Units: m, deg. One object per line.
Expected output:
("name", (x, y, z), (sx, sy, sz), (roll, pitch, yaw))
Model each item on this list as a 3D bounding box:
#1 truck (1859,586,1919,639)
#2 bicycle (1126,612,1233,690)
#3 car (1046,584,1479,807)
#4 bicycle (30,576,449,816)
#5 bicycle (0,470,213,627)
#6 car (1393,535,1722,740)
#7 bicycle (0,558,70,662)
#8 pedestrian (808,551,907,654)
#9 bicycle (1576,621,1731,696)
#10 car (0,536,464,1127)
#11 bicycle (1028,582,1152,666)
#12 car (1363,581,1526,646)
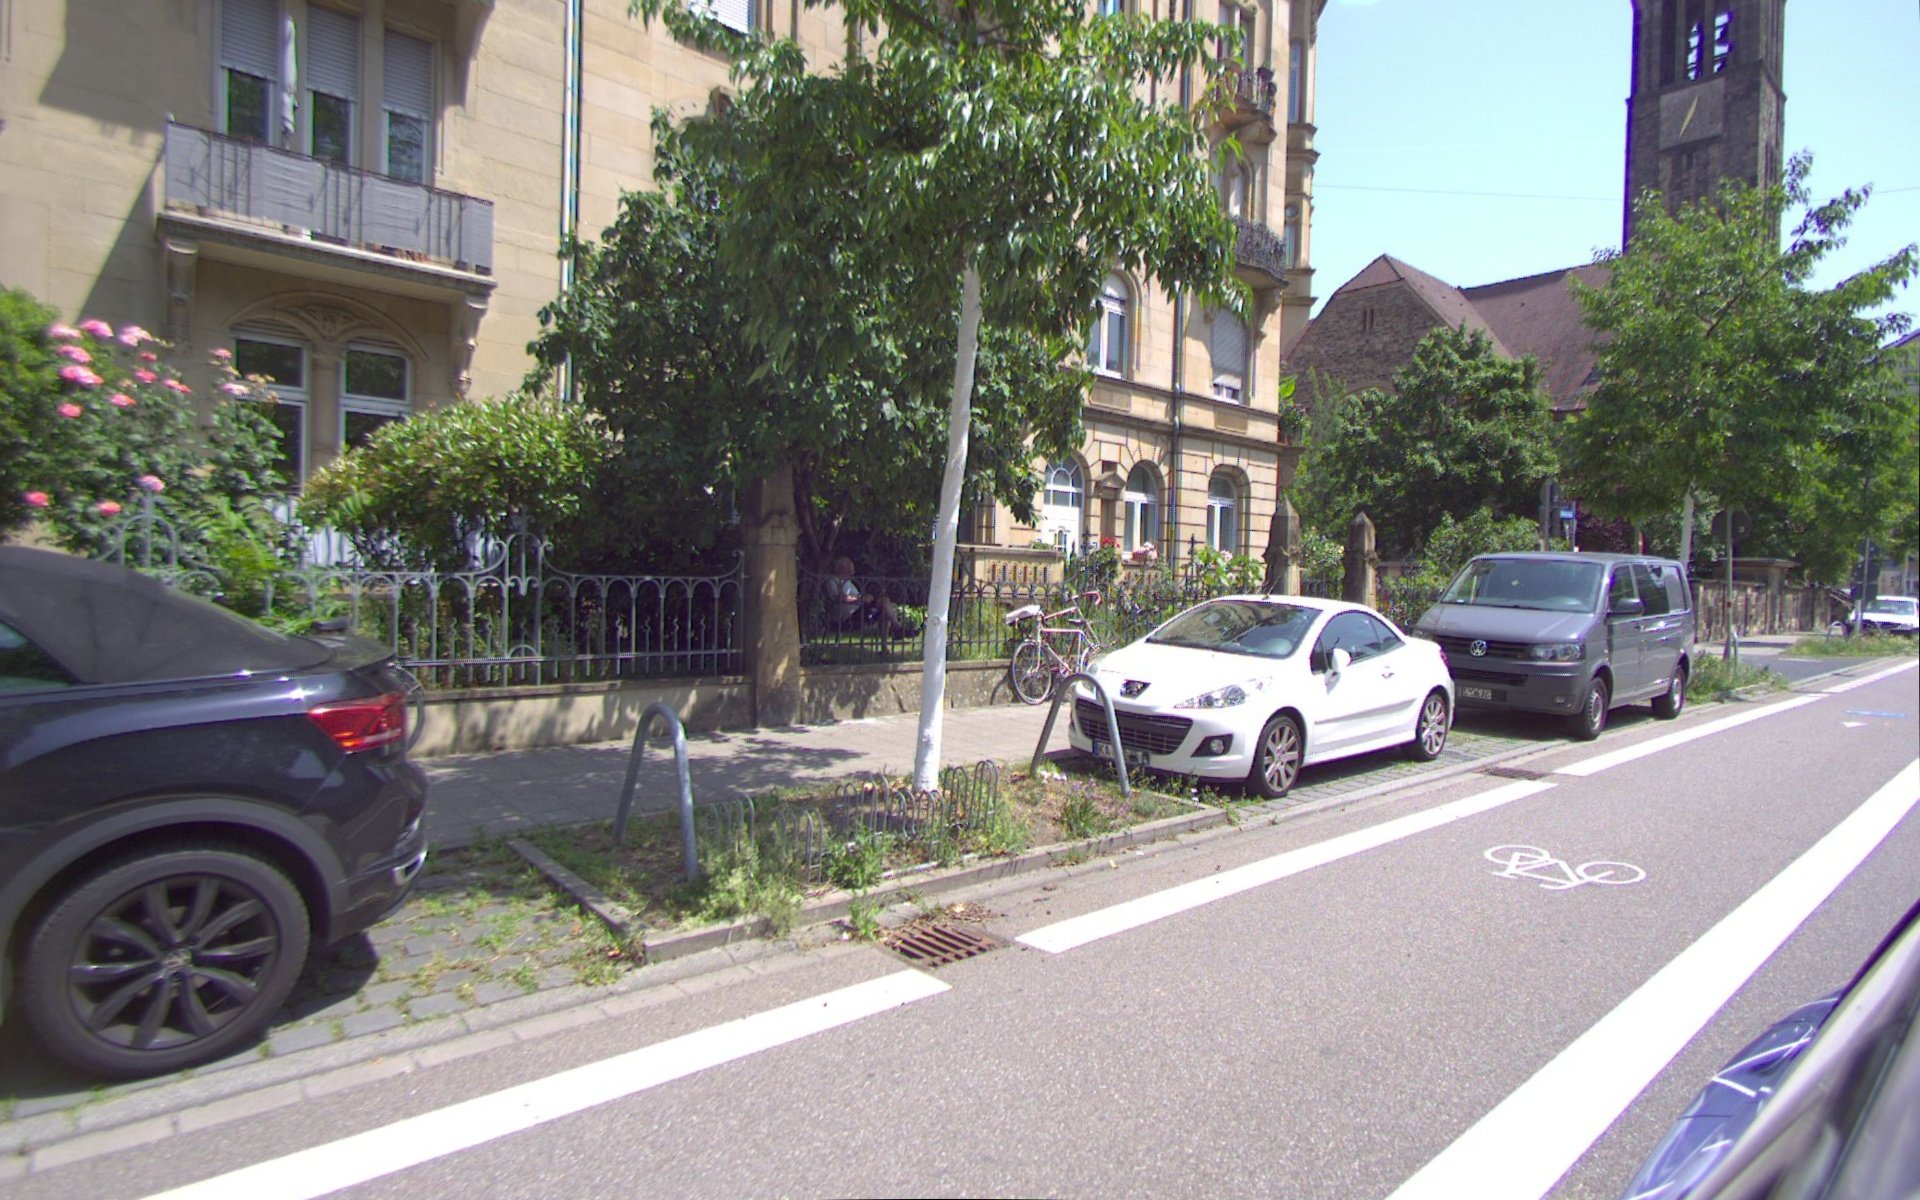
("truck", (30.102, 0.368, 32.243), (4.390, 1.545, 1.792), (0, 1, -43))
("bicycle", (2.783, 0.619, 12.752), (1.606, 0.891, 0.441), (0, 1, -41))
("car", (2.681, 0.619, 8.503), (3.930, 1.423, 1.614), (0, 1, -41))
("bicycle", (-4.385, 0.507, 6.312), (2.055, 1.277, 0.593), (0, 1, -41))
("bicycle", (-8.337, -0.455, 9.029), (2.644, 1.349, 0.565), (0, 2, -42))
("car", (7.231, 0.324, 12.033), (4.751, 1.971, 1.883), (0, 3, -41))
("bicycle", (-10.014, 0.093, 9.328), (2.712, 0.998, 0.584), (0, 1, -42))
("pedestrian", (-1.148, 0.017, 11.234), (0.747, 1.083, 0.868), (0, 1, -37))
("bicycle", (10.444, 0.854, 15.291), (1.879, 1.004, 0.463), (2, 1, 41))
("car", (-3.688, 0.580, 2.712), (3.943, 1.550, 1.670), (0, 1, -41))
("bicycle", (1.501, 0.251, 11.536), (1.606, 0.891, 0.441), (0, 1, -41))
("car", (12.356, 0.291, 25.960), (1.526, 1.510, 3.461), (0, 2, -38))
